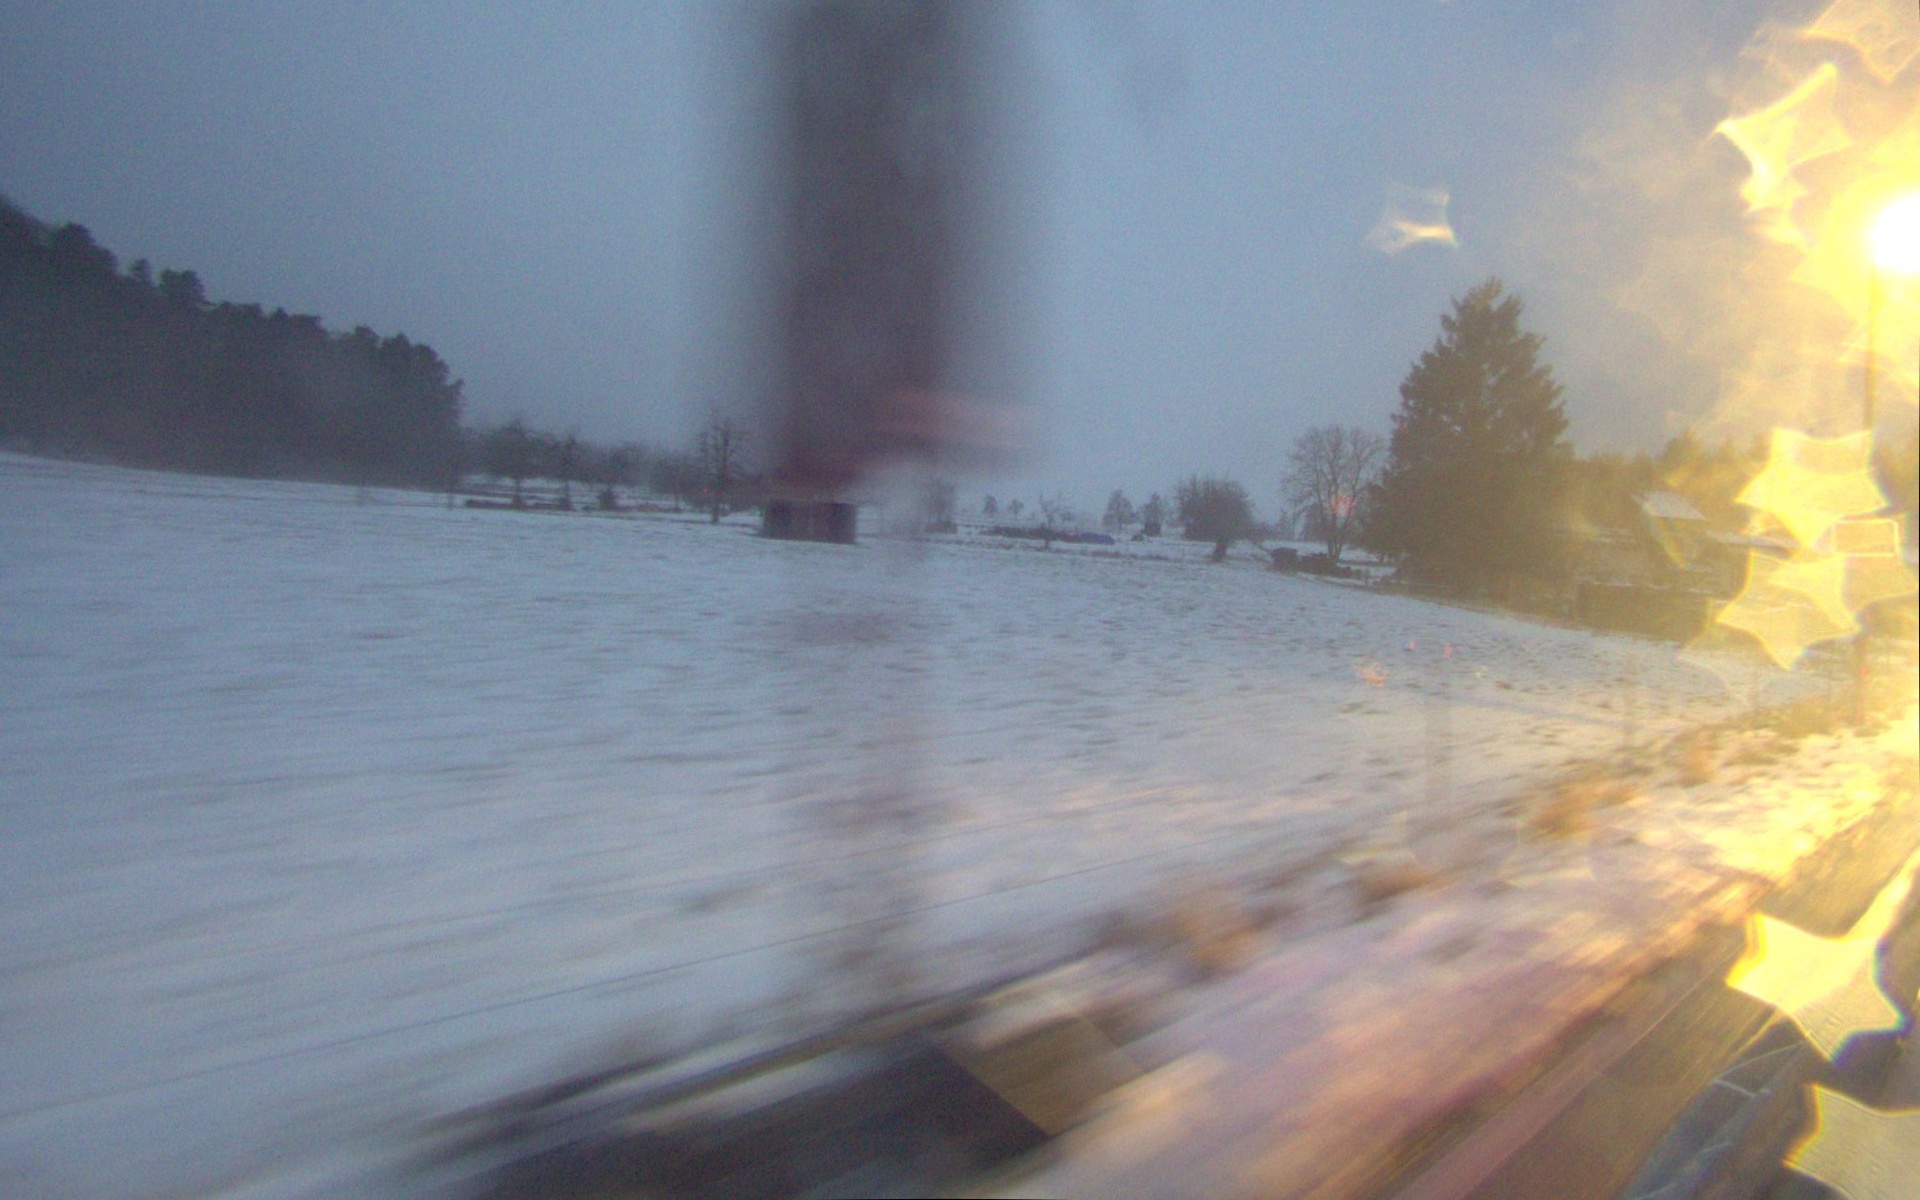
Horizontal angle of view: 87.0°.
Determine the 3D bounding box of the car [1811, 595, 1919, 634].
[{"bbox_3d":[47.333,0.755,52.517,1.825,1.677,4.416,2,2,-32],"label":"car"}]
